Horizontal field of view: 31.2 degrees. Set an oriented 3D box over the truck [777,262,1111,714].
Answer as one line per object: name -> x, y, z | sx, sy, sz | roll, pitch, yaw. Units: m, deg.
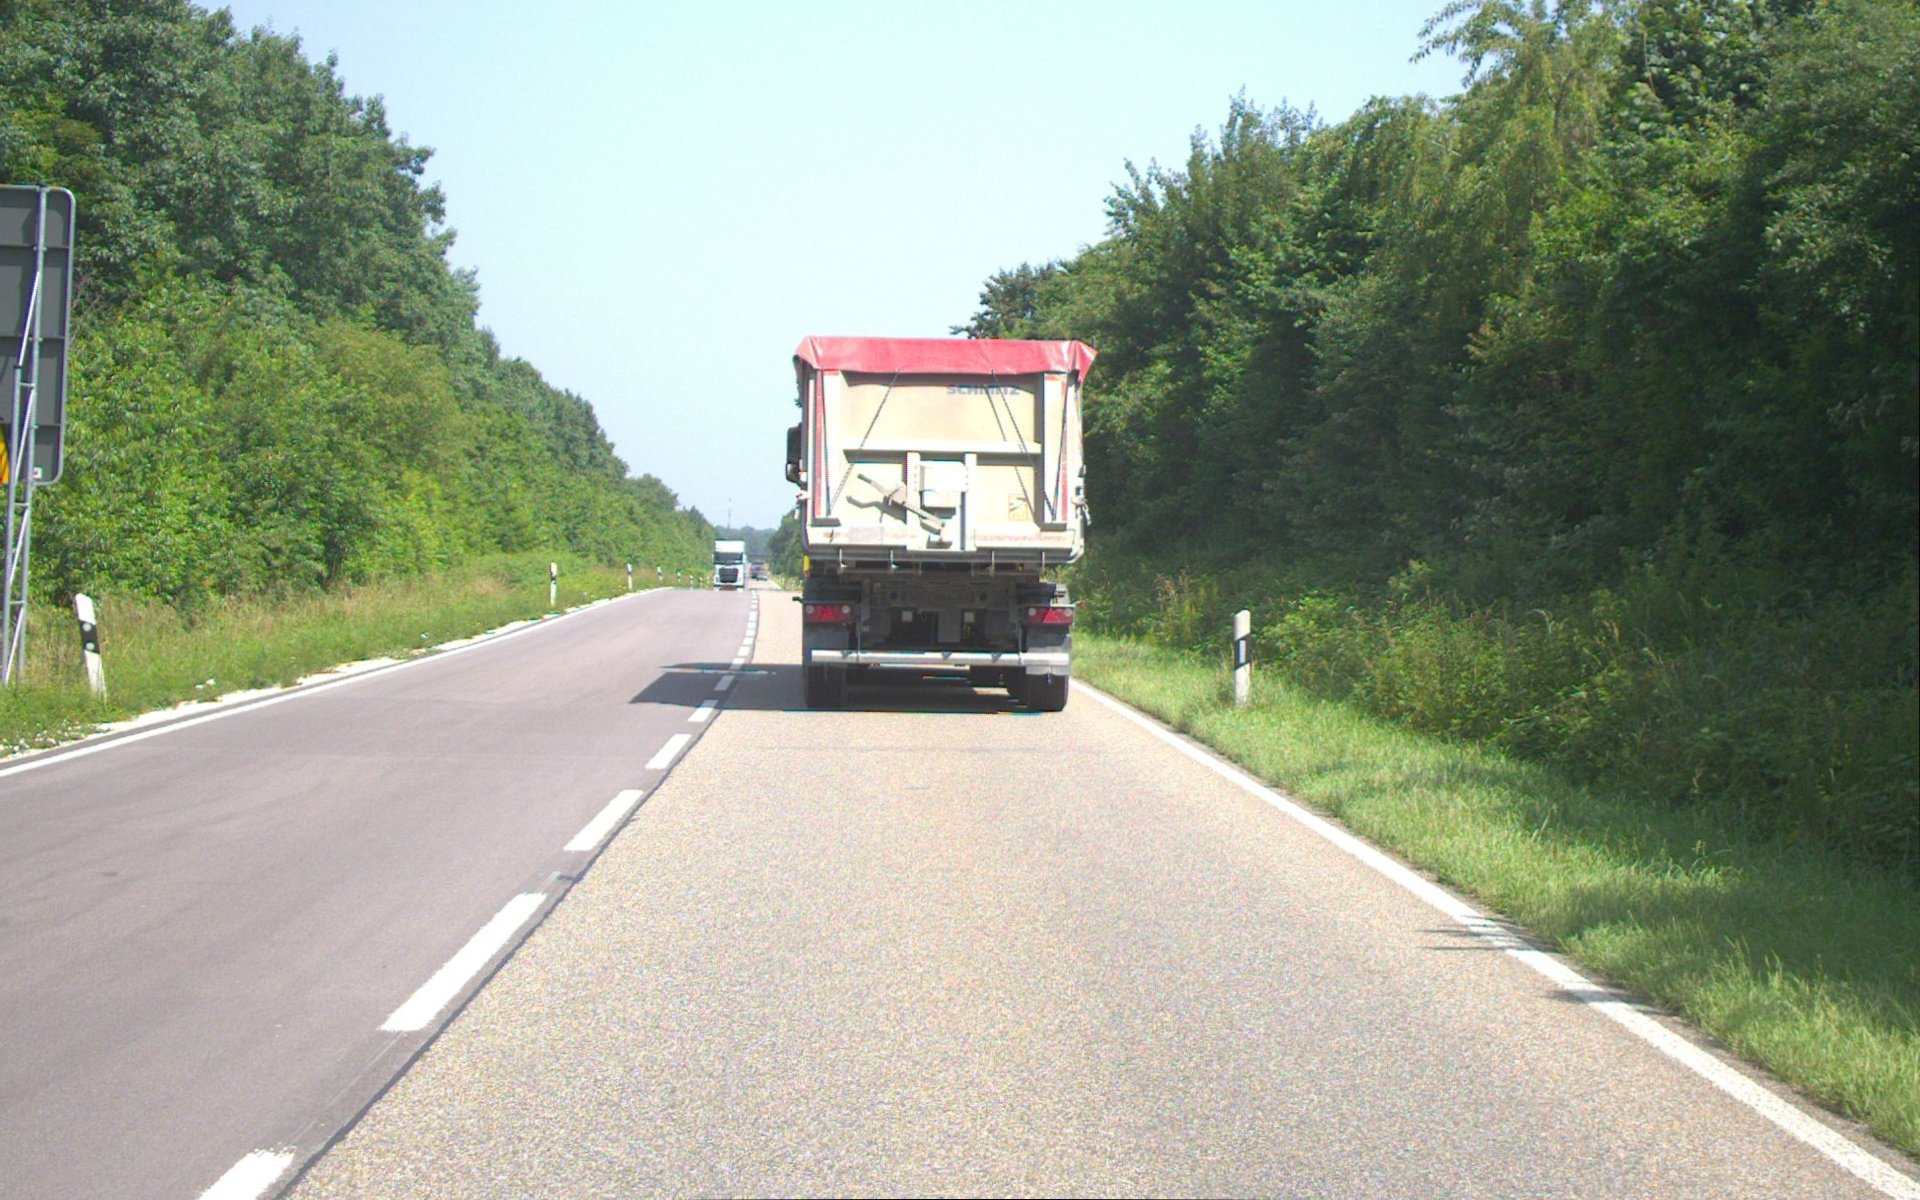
truck -> -0.434, -1.097, 36.230 | 2.893, 3.949, 11.934 | 1, 1, -3
